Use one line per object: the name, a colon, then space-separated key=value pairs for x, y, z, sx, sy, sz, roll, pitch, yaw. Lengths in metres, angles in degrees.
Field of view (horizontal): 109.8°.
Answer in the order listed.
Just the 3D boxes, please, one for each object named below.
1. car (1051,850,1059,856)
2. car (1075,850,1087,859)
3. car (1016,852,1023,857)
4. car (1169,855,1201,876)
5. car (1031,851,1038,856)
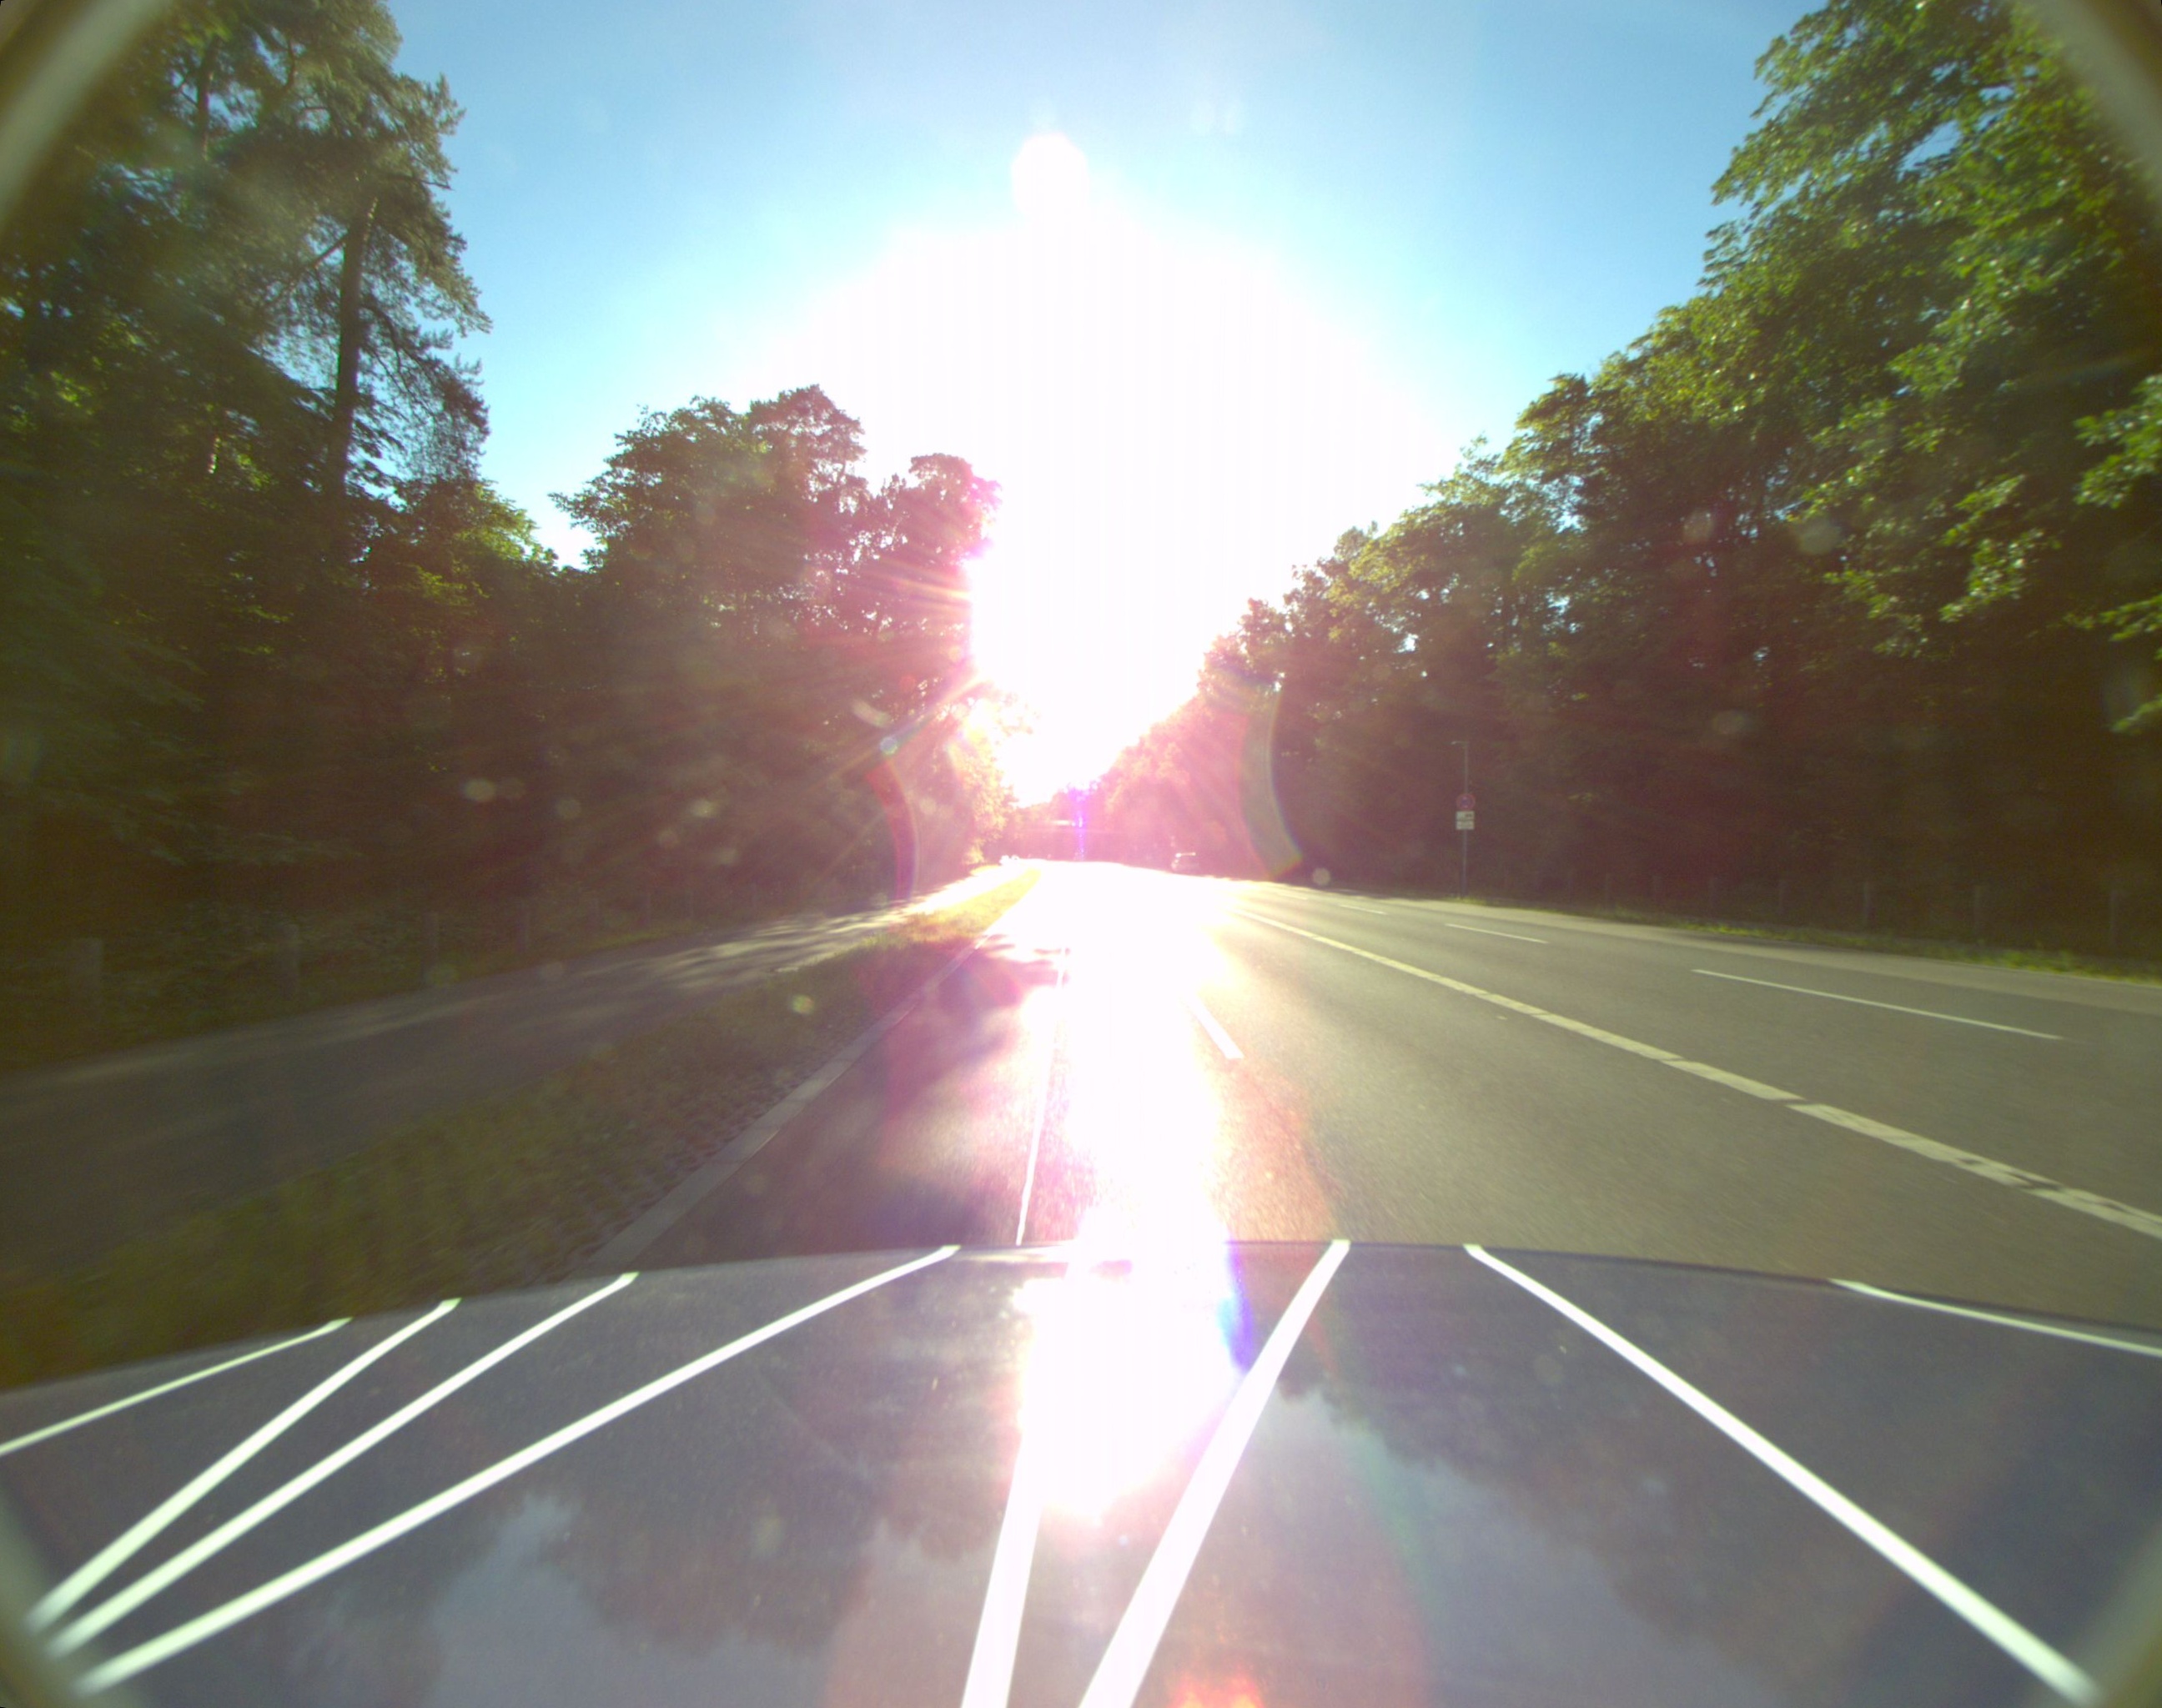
car: x=-6.949 y=-0.295 z=204.155 sx=1.518 sy=1.457 sz=4.310 roll=-2 pitch=0 yaw=-9
car: x=0.038 y=0.114 z=151.900 sx=2.007 sy=1.815 sz=4.997 roll=-2 pitch=0 yaw=-5
car: x=-19.365 y=0.098 z=238.670 sx=1.828 sy=1.674 sz=3.995 roll=0 pitch=0 yaw=-13
car: x=7.771 y=0.851 z=57.185 sx=1.591 sy=1.429 sz=4.308 roll=-3 pitch=0 yaw=-2
car: x=-15.279 y=-0.216 z=249.010 sx=1.848 sy=1.538 sz=3.996 roll=3 pitch=-1 yaw=-11
